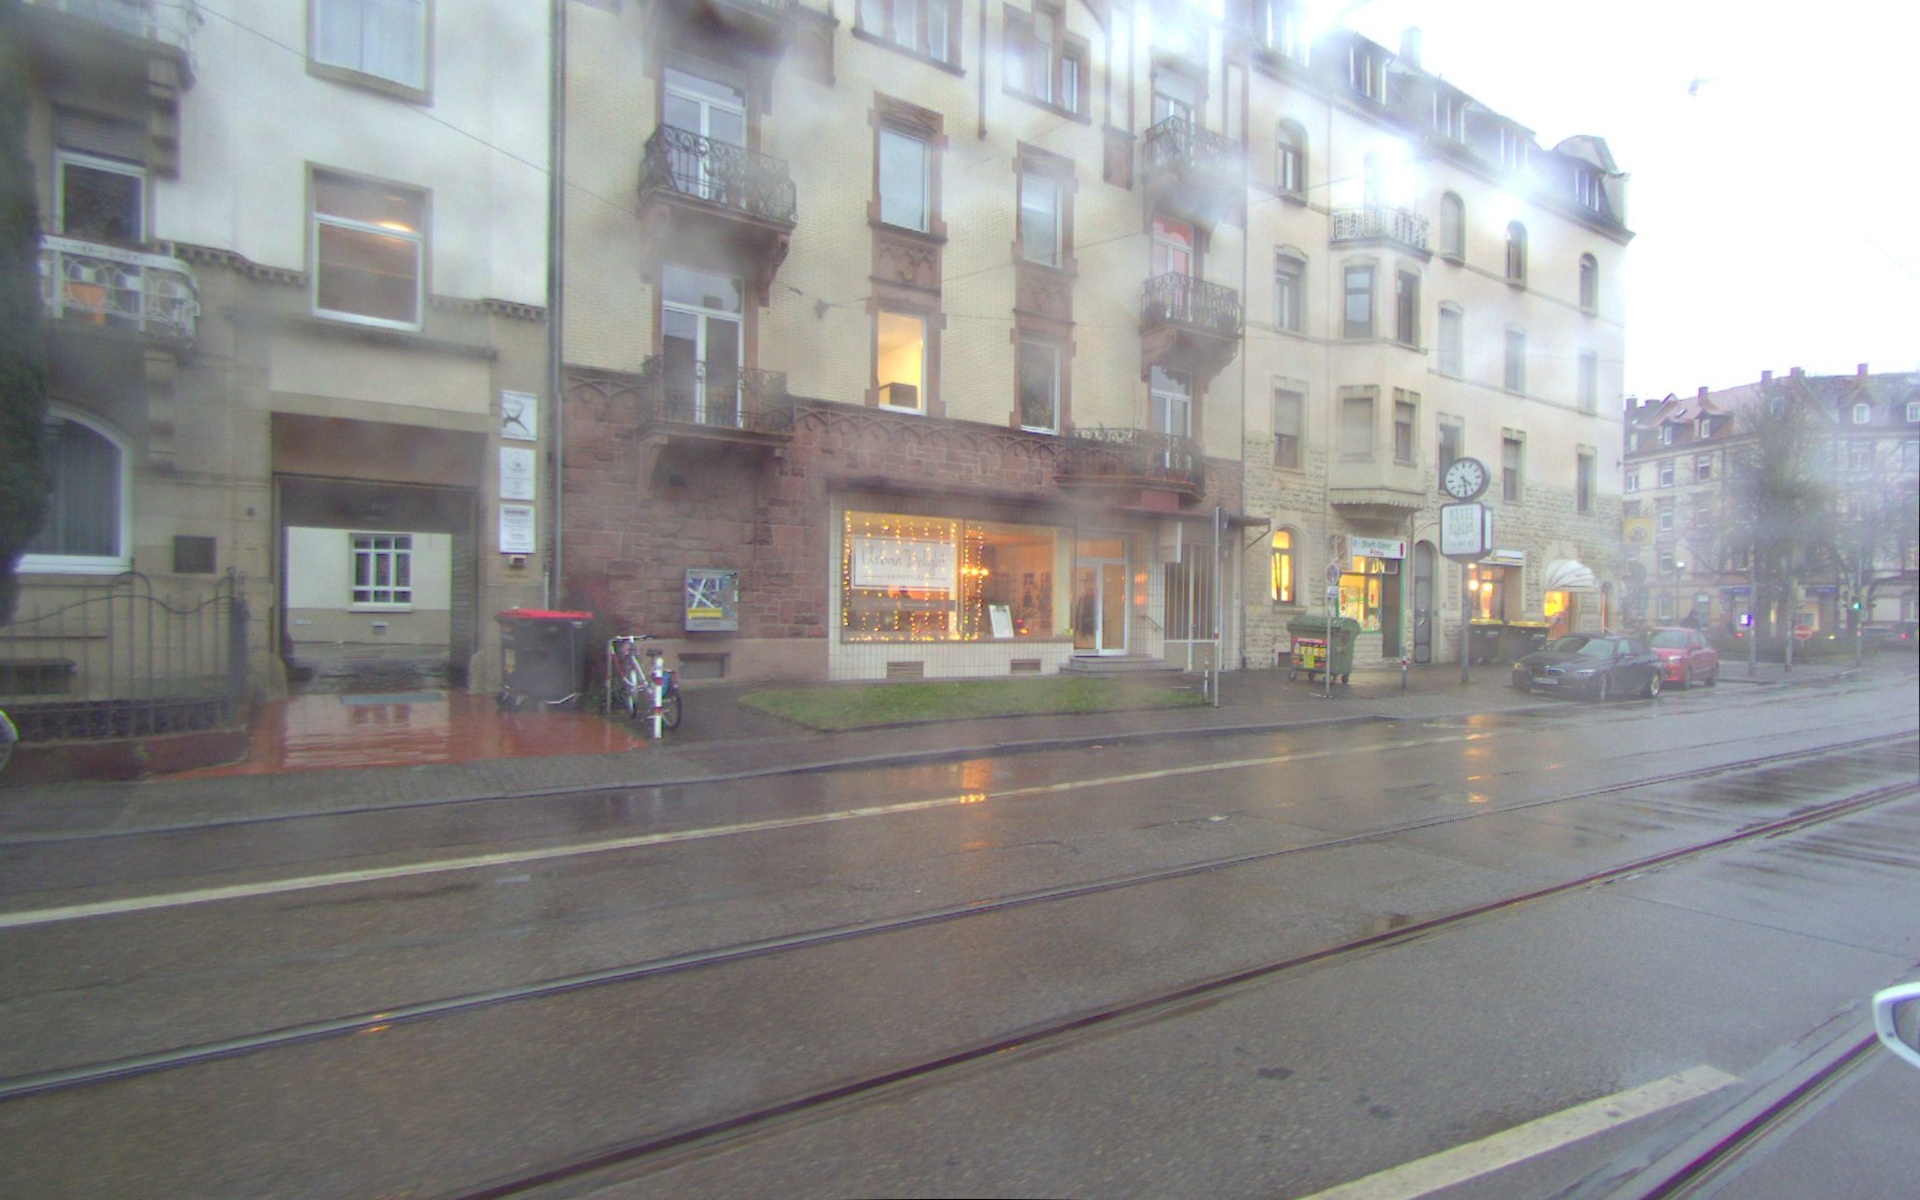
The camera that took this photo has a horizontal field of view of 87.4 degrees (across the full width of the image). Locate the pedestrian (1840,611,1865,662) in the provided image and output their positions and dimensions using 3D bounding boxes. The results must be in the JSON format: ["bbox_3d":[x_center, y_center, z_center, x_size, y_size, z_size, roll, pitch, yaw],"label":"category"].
[{"bbox_3d":[36.184,1.468,40.742,0.695,2.040,0.658,0,0,38],"label":"pedestrian"}]

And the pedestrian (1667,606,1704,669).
[{"bbox_3d":[23.692,1.218,32.821,0.635,2.040,0.758,2,0,3],"label":"pedestrian"}]

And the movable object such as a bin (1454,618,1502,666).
[{"bbox_3d":[15.548,1.247,30.154,0.996,1.396,0.893,1,0,-33],"label":"movable object such as a bin"}]

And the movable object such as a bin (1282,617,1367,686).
[{"bbox_3d":[8.021,1.108,22.140,1.236,1.439,1.260,1,0,-33],"label":"movable object such as a bin"}]

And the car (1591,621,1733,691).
[{"bbox_3d":[18.853,1.431,26.934,3.996,1.573,2.021,0,3,-39],"label":"car"}]

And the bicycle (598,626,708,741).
[{"bbox_3d":[-3.736,0.938,12.071,0.687,1.120,2.336,1,2,-31],"label":"bicycle"}]

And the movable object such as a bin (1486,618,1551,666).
[{"bbox_3d":[16.892,1.266,30.374,1.239,1.385,1.286,1,0,-33],"label":"movable object such as a bin"}]

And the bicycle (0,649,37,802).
[{"bbox_3d":[-7.880,0.927,7.280,1.644,1.107,0.620,1,-1,-32],"label":"bicycle"}]

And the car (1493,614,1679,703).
[{"bbox_3d":[14.465,1.302,23.124,4.587,1.667,1.972,2,4,-36],"label":"car"}]

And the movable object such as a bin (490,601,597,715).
[{"bbox_3d":[-5.590,0.743,13.458,1.155,1.398,1.096,1,2,-32],"label":"movable object such as a bin"}]
